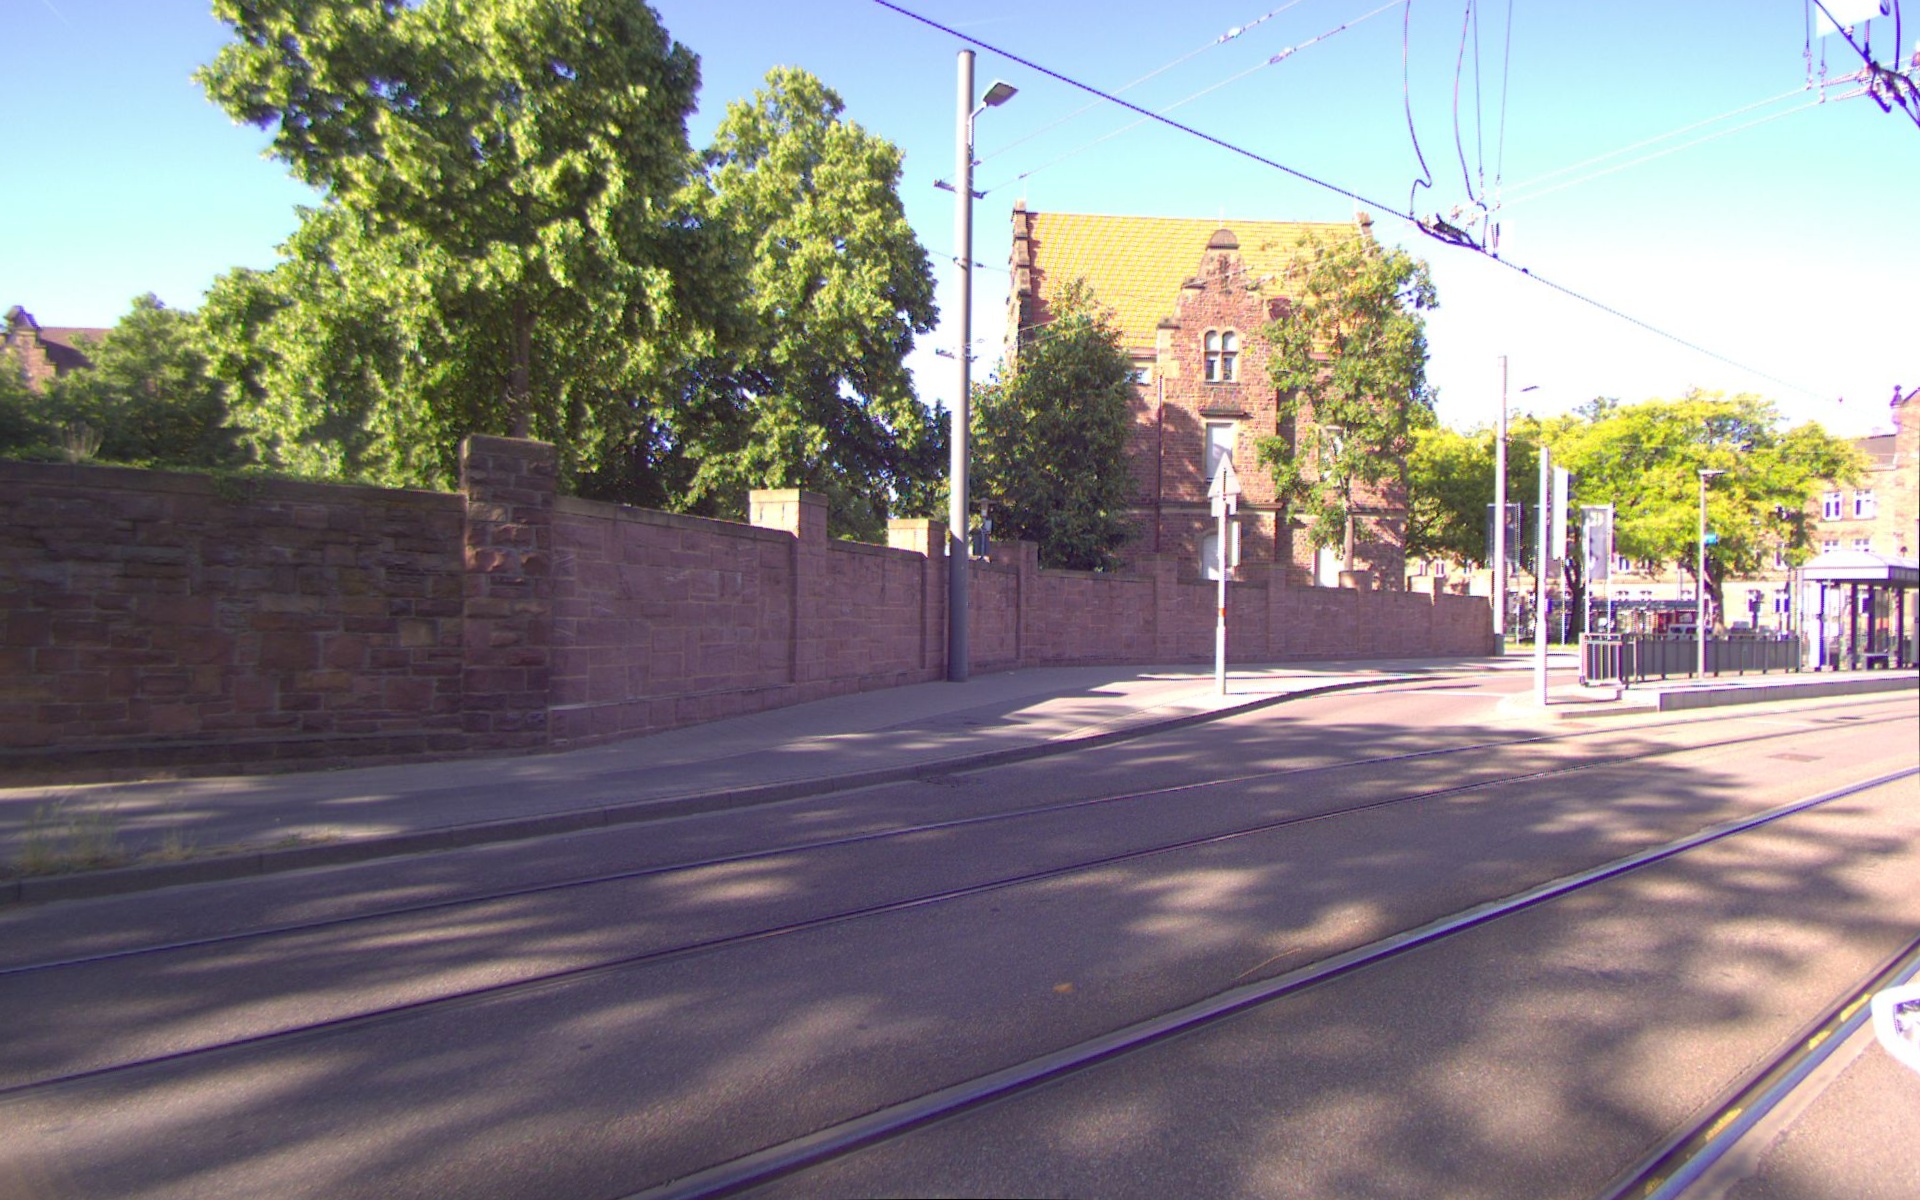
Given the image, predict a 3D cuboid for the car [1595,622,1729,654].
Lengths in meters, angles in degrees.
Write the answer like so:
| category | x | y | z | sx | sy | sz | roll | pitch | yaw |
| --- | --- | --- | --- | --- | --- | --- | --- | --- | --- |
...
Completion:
| category | x | y | z | sx | sy | sz | roll | pitch | yaw |
| --- | --- | --- | --- | --- | --- | --- | --- | --- | --- |
| car | 47.933 | 2.585 | 68.805 | 2.957 | 1.946 | 6.915 | 1 | -1 | -30 |
